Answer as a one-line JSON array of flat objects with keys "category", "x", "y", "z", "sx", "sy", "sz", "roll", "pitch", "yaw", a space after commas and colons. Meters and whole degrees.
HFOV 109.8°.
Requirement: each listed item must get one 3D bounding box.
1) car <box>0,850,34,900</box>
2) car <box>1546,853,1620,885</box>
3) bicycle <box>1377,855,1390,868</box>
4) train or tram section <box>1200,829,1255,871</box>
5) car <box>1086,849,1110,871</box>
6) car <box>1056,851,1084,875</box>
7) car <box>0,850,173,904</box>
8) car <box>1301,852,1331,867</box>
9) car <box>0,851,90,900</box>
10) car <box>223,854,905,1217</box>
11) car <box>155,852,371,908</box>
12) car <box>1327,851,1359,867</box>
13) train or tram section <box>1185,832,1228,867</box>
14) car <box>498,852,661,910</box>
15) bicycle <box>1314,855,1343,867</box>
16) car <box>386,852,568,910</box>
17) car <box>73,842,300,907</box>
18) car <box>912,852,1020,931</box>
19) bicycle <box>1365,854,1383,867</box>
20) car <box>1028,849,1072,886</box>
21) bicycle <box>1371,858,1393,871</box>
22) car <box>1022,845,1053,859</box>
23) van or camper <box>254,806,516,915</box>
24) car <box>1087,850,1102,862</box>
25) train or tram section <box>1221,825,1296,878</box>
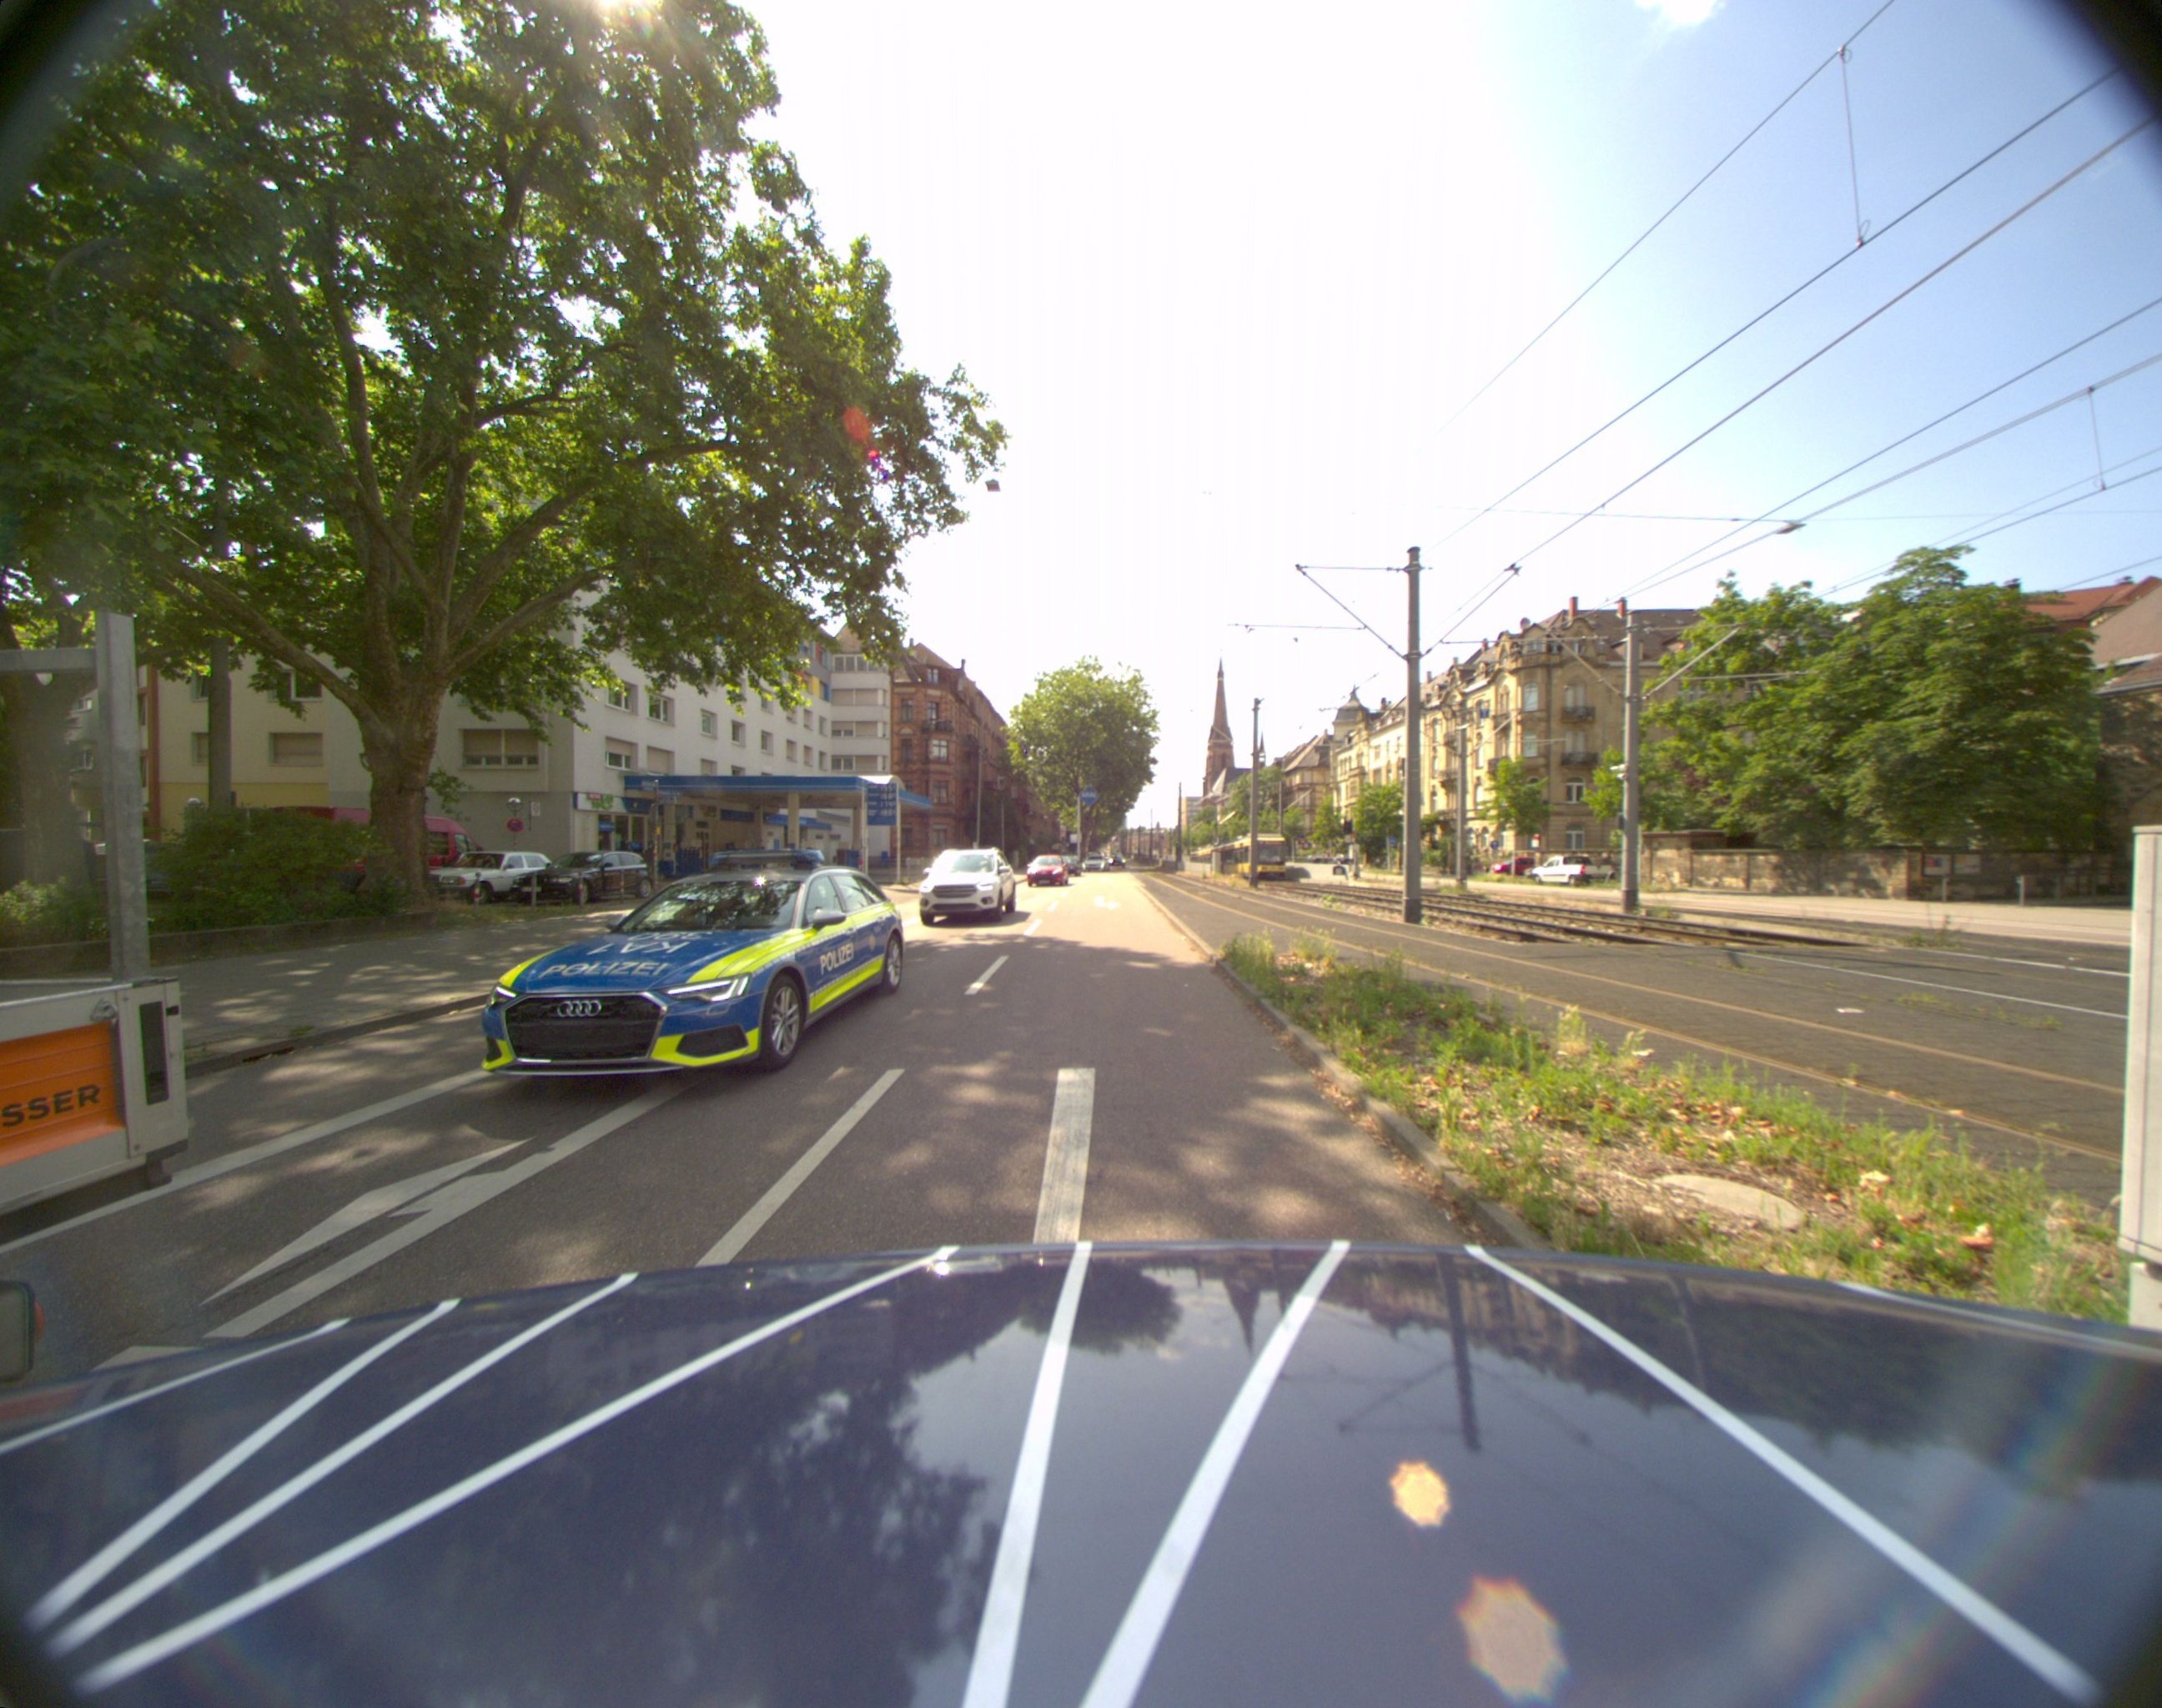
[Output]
[{"category": "car", "x": -33.411, "y": 0.673, "z": 21.586, "sx": 1.663, "sy": 1.511, "sz": 3.999, "roll": -2, "pitch": 1, "yaw": 1}, {"category": "car", "x": 24.932, "y": 0.691, "z": 37.886, "sx": 1.671, "sy": 1.408, "sz": 3.846, "roll": 2, "pitch": 1, "yaw": 10}, {"category": "bicycle", "x": 28.848, "y": 0.694, "z": 72.429, "sx": 0.428, "sy": 1.133, "sz": 2.023, "roll": -2, "pitch": 0, "yaw": 2}, {"category": "train or tram section", "x": 13.448, "y": -0.384, "z": 71.036, "sx": 2.860, "sy": 3.559, "sz": 12.834, "roll": 0, "pitch": 1, "yaw": 1}, {"category": "car", "x": 1.436, "y": 0.494, "z": 63.070, "sx": 1.952, "sy": 1.598, "sz": 5.075, "roll": 0, "pitch": 2, "yaw": 1}, {"category": "car", "x": -0.696, "y": 0.602, "z": 51.121, "sx": 1.764, "sy": 1.490, "sz": 4.187, "roll": 0, "pitch": 1, "yaw": 1}, {"category": "car", "x": -28.279, "y": 0.611, "z": 20.867, "sx": 1.766, "sy": 1.356, "sz": 3.999, "roll": -2, "pitch": 1, "yaw": 1}, {"category": "car", "x": 25.949, "y": 0.551, "z": 84.148, "sx": 1.803, "sy": 1.518, "sz": 4.488, "roll": -2, "pitch": 1, "yaw": -2}, {"category": "car", "x": -30.773, "y": 0.636, "z": 20.875, "sx": 1.766, "sy": 1.356, "sz": 3.999, "roll": -2, "pitch": 1, "yaw": 1}, {"category": "car", "x": -3.069, "y": 0.879, "z": 6.209, "sx": 1.871, "sy": 1.643, "sz": 5.153, "roll": -1, "pitch": 1, "yaw": 2}, {"category": "car", "x": -21.995, "y": 0.625, "z": 20.698, "sx": 1.477, "sy": 1.286, "sz": 3.999, "roll": -2, "pitch": 1, "yaw": 1}, {"category": "car", "x": 25.518, "y": 0.486, "z": 74.134, "sx": 1.690, "sy": 1.494, "sz": 4.708, "roll": 0, "pitch": 1, "yaw": 2}, {"category": "train or tram section", "x": 13.669, "y": -0.537, "z": 83.888, "sx": 2.860, "sy": 3.559, "sz": 12.834, "roll": 0, "pitch": 1, "yaw": 1}, {"category": "car", "x": -13.568, "y": 0.674, "z": 20.881, "sx": 1.756, "sy": 1.402, "sz": 3.999, "roll": 0, "pitch": 1, "yaw": 1}, {"category": "bicycle", "x": 26.244, "y": 0.730, "z": 80.620, "sx": 2.957, "sy": 1.239, "sz": 0.792, "roll": 0, "pitch": 1, "yaw": -11}, {"category": "car", "x": -16.301, "y": 0.659, "z": 20.812, "sx": 1.756, "sy": 1.402, "sz": 3.999, "roll": 0, "pitch": 1, "yaw": 1}, {"category": "car", "x": -24.662, "y": 0.493, "z": 21.203, "sx": 1.529, "sy": 1.595, "sz": 3.999, "roll": -1, "pitch": 1, "yaw": 1}, {"category": "car", "x": -2.665, "y": 0.812, "z": 18.719, "sx": 1.764, "sy": 1.597, "sz": 4.679, "roll": -3, "pitch": 0, "yaw": 1}, {"category": "bicycle", "x": 29.037, "y": 0.597, "z": 75.279, "sx": 0.659, "sy": 1.241, "sz": 2.943, "roll": -2, "pitch": 0, "yaw": 2}, {"category": "car", "x": -1.409, "y": 0.584, "z": 36.367, "sx": 1.764, "sy": 1.597, "sz": 4.679, "roll": 0, "pitch": 1, "yaw": 1}, {"category": "bicycle", "x": 25.801, "y": 0.873, "z": 65.041, "sx": 1.710, "sy": 1.063, "sz": 0.471, "roll": 0, "pitch": 1, "yaw": -4}, {"category": "car", "x": -6.346, "y": -0.312, "z": 111.173, "sx": 4.412, "sy": 1.907, "sz": 2.000, "roll": 1, "pitch": 1, "yaw": 0}, {"category": "van or camper", "x": -19.135, "y": 0.133, "z": 21.383, "sx": 2.107, "sy": 2.626, "sz": 5.350, "roll": -2, "pitch": 1, "yaw": 3}, {"category": "car", "x": 1.598, "y": 0.253, "z": 88.404, "sx": 1.500, "sy": 1.296, "sz": 3.492, "roll": -2, "pitch": 1, "yaw": 4}, {"category": "train or tram section", "x": 13.261, "y": -0.233, "z": 58.146, "sx": 2.860, "sy": 3.559, "sz": 12.834, "roll": 0, "pitch": 1, "yaw": 1}]
